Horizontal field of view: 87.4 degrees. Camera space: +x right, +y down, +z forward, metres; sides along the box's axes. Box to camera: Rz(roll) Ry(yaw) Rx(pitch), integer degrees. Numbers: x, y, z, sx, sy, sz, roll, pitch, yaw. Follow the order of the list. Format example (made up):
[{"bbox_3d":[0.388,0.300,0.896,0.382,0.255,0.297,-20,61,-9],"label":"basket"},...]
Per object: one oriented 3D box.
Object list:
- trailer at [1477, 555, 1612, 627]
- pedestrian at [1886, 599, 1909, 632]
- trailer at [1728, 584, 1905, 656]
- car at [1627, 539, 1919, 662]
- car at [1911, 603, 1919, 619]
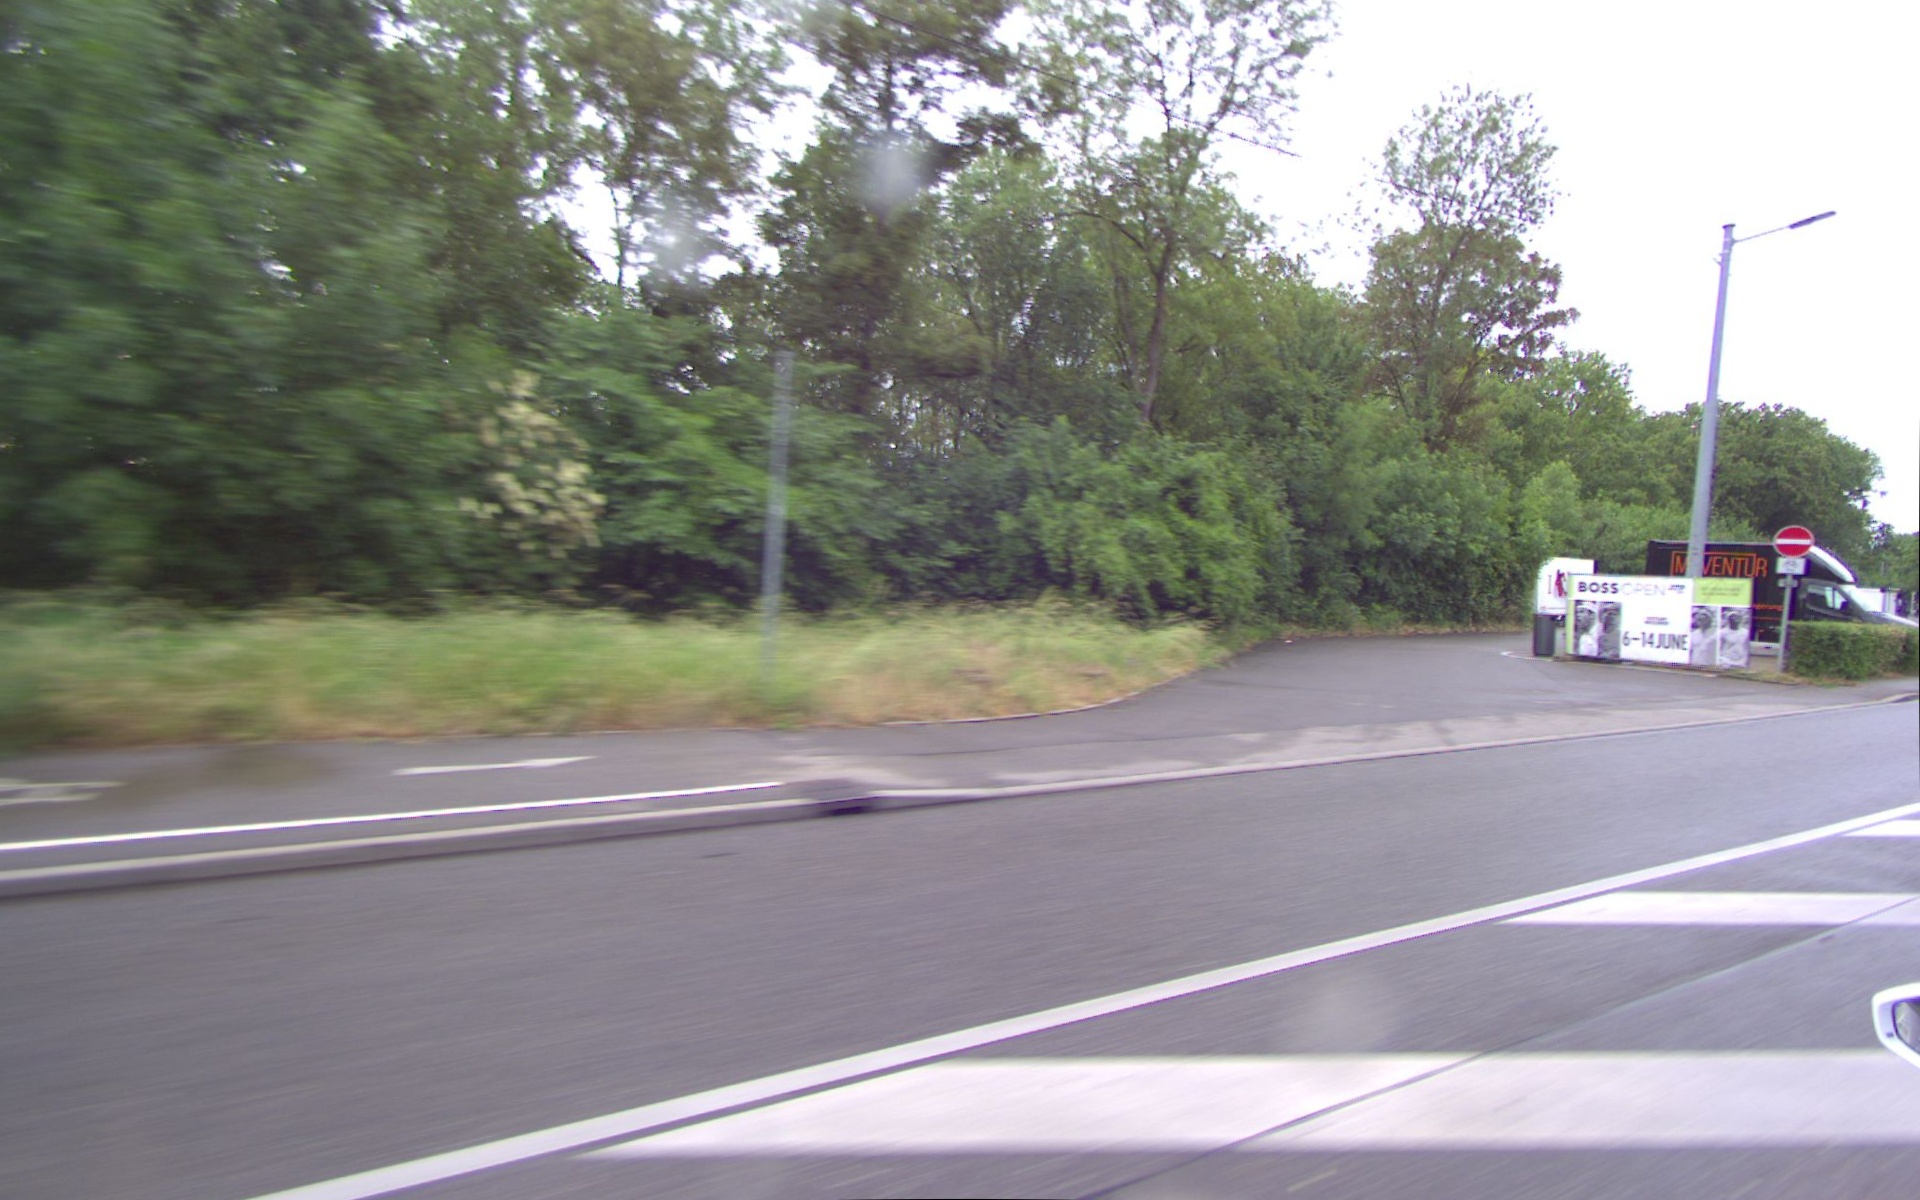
[{"bbox_3d":[25.741,-0.326,44.079,7.910,2.912,2.455,1,1,-40],"label":"trailer"},{"bbox_3d":[52.058,0.861,55.774,1.128,1.822,0.809,0,2,-44],"label":"pedestrian"},{"bbox_3d":[27.516,0.598,32.383,1.855,2.080,3.959,1,1,-35],"label":"trailer"},{"bbox_3d":[23.347,-0.084,28.961,2.728,3.155,6.222,2,1,-38],"label":"car"},{"bbox_3d":[104.532,1.258,107.207,4.243,1.731,1.989,4,3,43],"label":"car"}]
